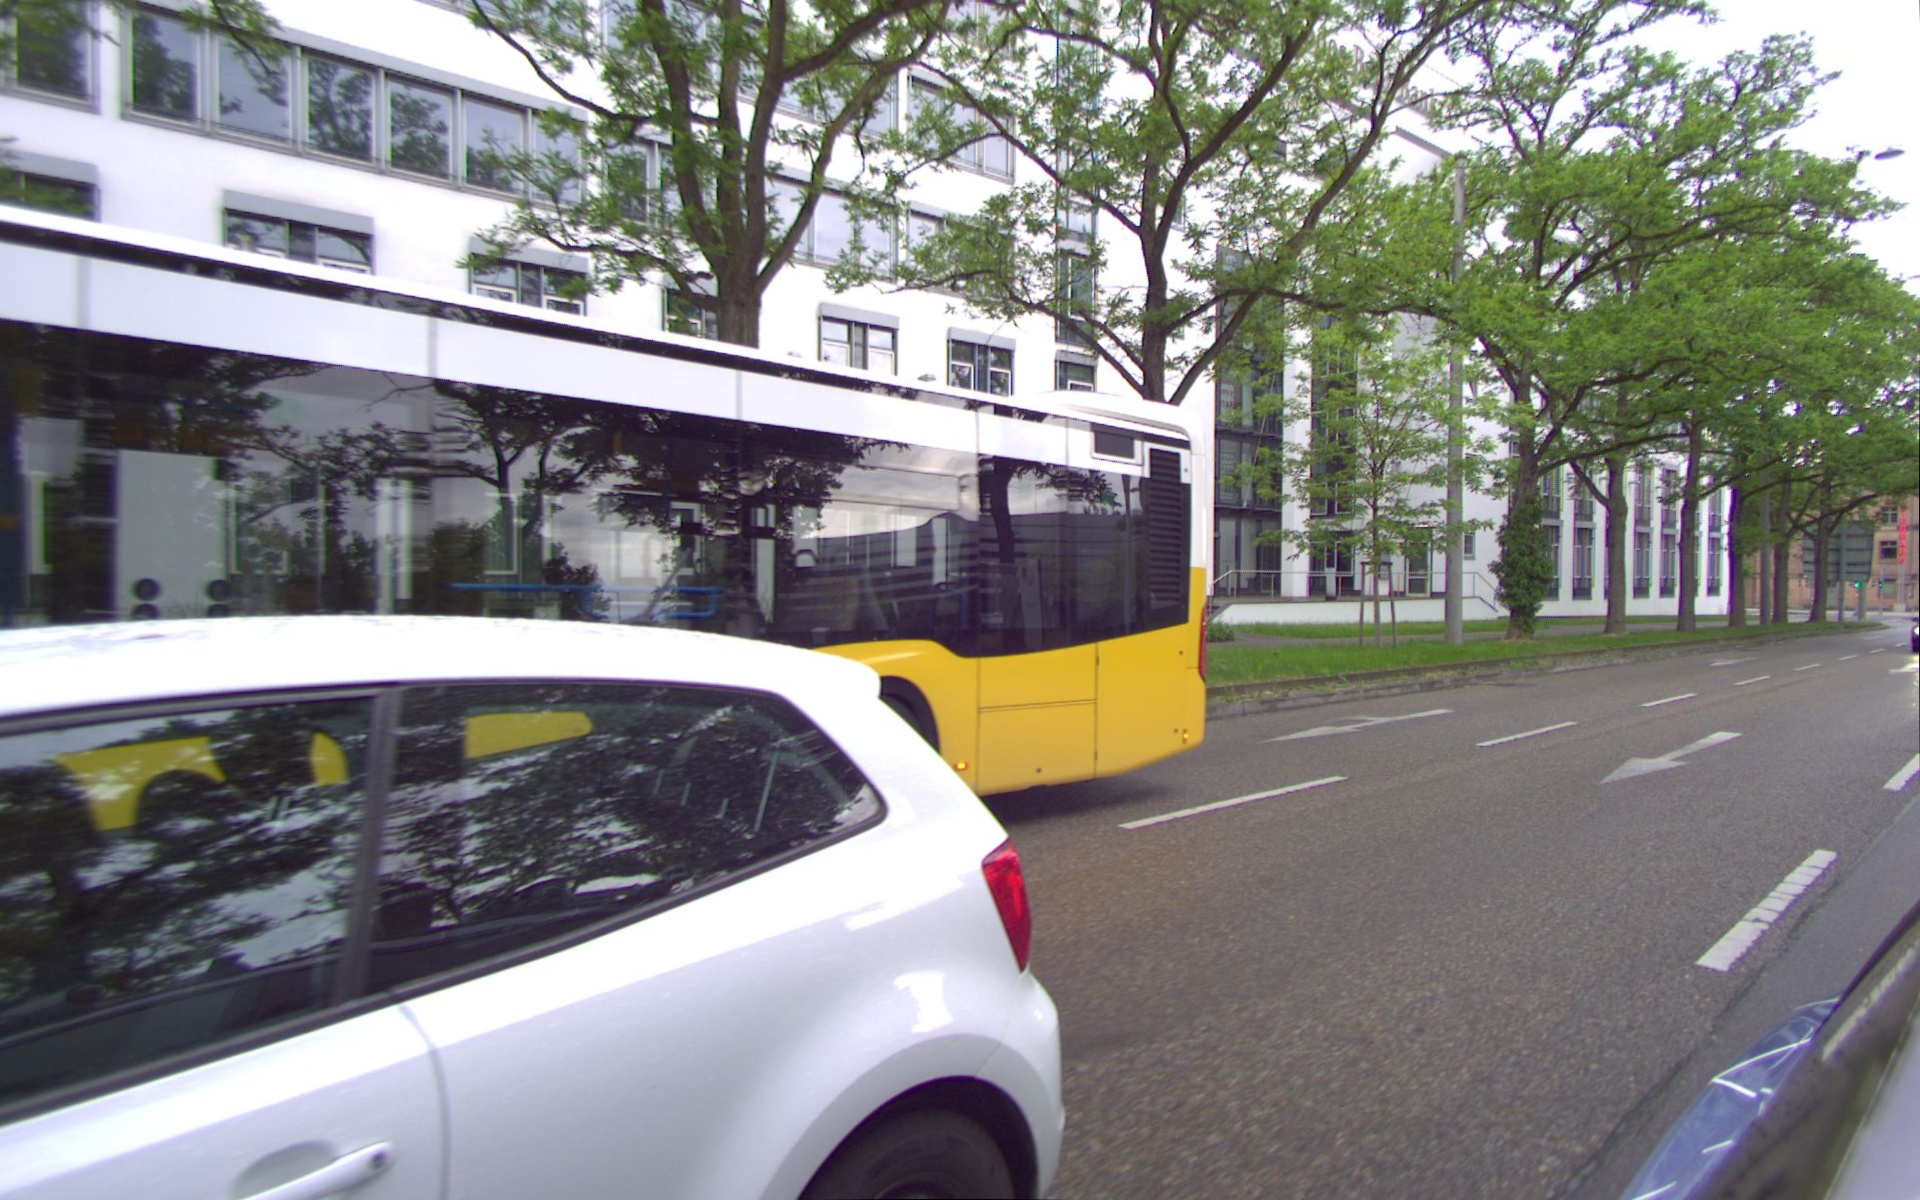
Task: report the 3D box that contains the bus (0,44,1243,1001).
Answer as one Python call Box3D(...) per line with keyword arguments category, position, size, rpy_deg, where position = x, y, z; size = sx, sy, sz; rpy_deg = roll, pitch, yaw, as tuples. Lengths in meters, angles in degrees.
Box3D(category="bus", position=(-3.170, -0.252, 5.195), size=(11.931, 3.192, 2.731), rpy_deg=(0, -1, -41))

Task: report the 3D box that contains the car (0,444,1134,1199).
Box3D(category="car", position=(-1.617, 0.590, 1.484), size=(3.747, 1.450, 1.743), rpy_deg=(-1, 0, -42))
